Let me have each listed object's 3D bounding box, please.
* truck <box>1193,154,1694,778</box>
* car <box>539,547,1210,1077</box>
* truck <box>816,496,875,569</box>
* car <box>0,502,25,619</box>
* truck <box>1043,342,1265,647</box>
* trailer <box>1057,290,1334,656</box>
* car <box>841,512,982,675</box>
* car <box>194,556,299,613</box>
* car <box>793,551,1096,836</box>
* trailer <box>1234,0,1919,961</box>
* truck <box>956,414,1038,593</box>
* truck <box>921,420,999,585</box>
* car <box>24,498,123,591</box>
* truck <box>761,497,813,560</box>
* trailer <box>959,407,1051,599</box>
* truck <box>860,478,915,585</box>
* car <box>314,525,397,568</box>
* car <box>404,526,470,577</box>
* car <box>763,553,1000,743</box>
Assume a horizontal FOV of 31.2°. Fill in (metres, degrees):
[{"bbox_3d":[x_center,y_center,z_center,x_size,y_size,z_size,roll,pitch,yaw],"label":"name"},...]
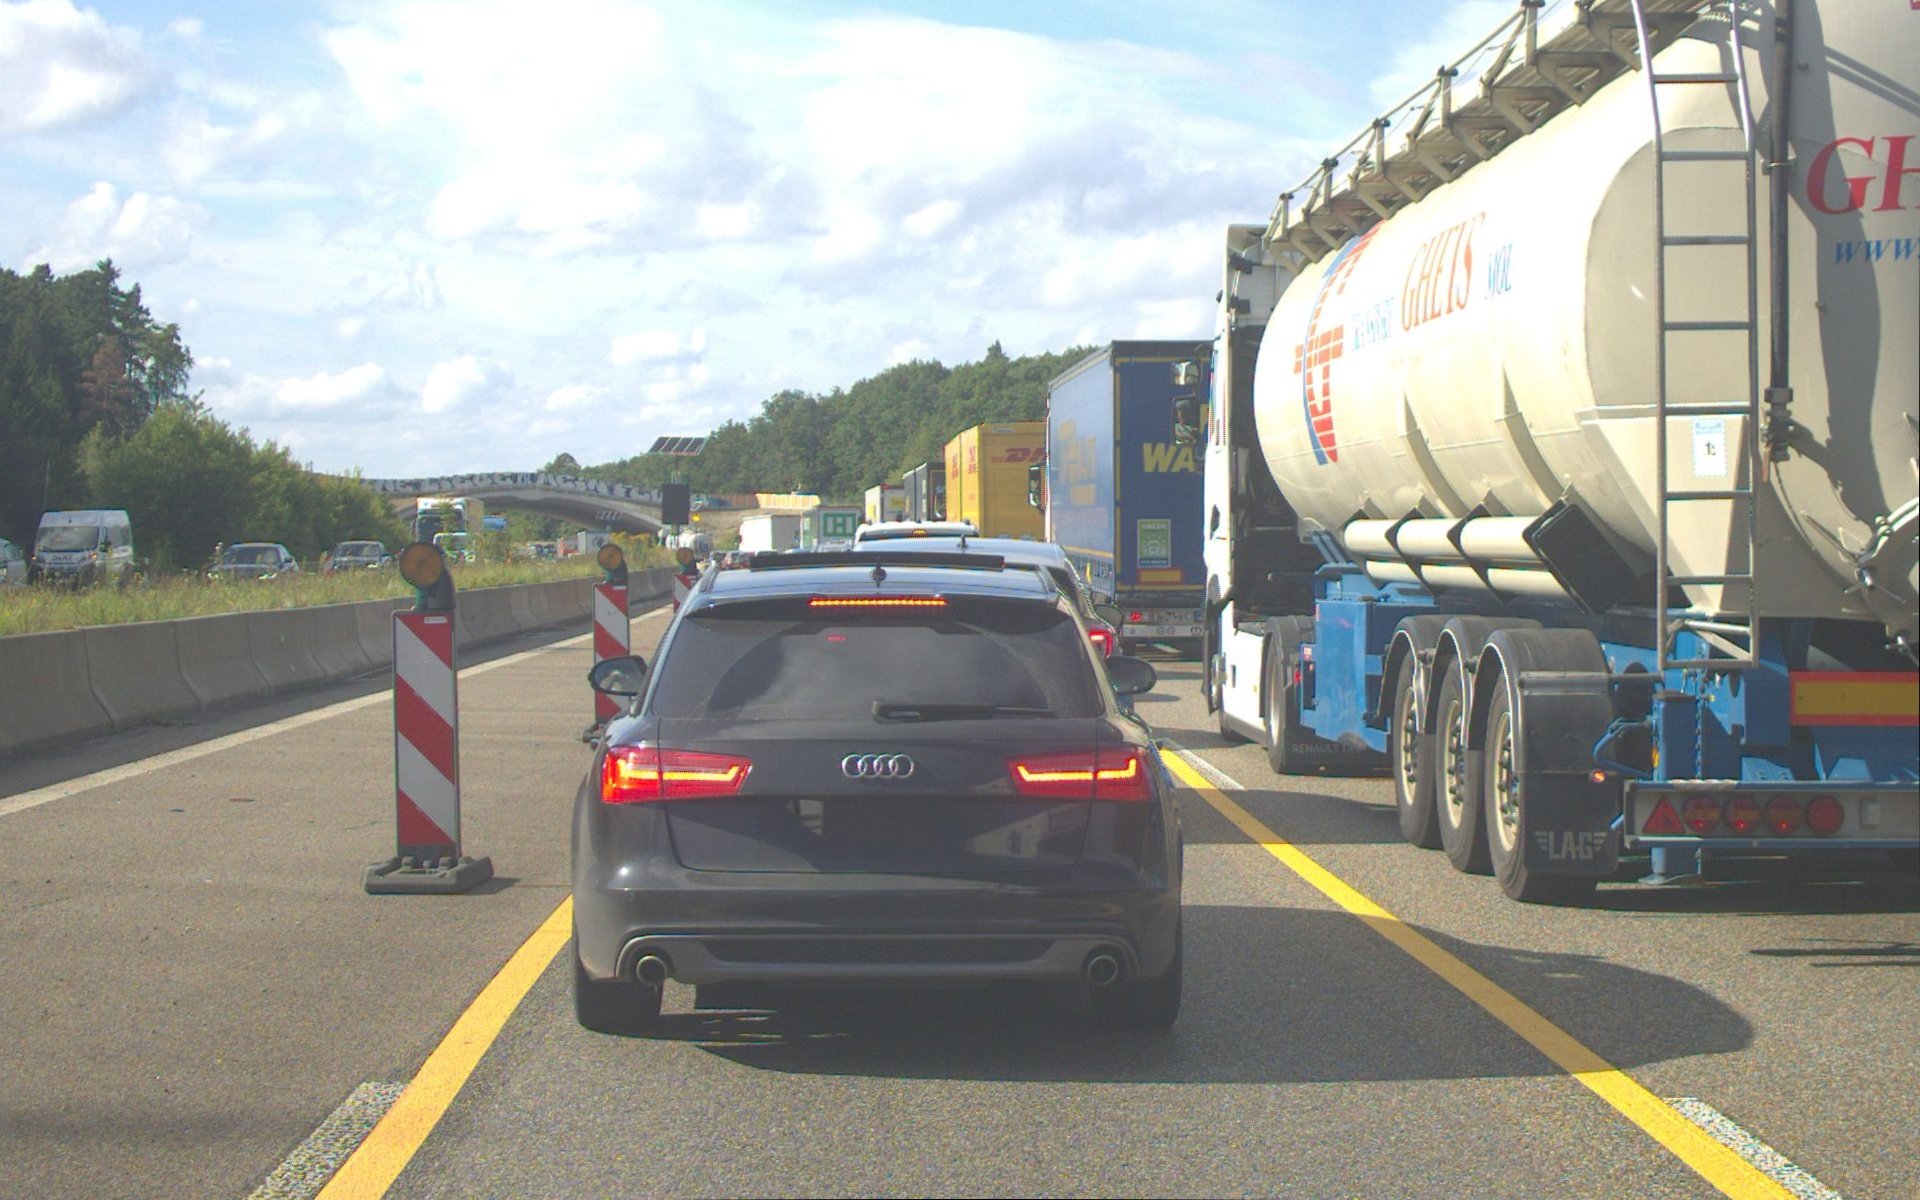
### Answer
[{"bbox_3d":[3.300,-0.883,24.952,2.659,3.958,5.779,1,0,-1],"label":"truck"},{"bbox_3d":[-0.267,0.572,11.524,1.848,1.458,4.000,0,0,-1],"label":"car"},{"bbox_3d":[-6.819,-3.940,202.913,3.303,4.160,9.703,0,1,-3],"label":"truck"},{"bbox_3d":[-15.854,-0.623,52.656,1.944,1.806,4.119,1,0,-1],"label":"car"},{"bbox_3d":[2.888,-1.554,53.402,2.806,4.354,7.792,1,0,-1],"label":"truck"},{"bbox_3d":[3.010,-1.586,46.998,2.805,4.398,10.433,1,0,-1],"label":"trailer"},{"bbox_3d":[-0.575,-0.091,40.628,1.581,1.830,3.112,1,0,-1],"label":"car"},{"bbox_3d":[-18.019,-0.402,86.962,1.779,1.382,4.310,1,0,-1],"label":"car"},{"bbox_3d":[-0.103,0.463,19.220,1.524,1.434,3.285,1,0,-1],"label":"car"},{"bbox_3d":[3.416,-0.804,18.201,2.644,3.929,12.598,1,1,-1],"label":"trailer"},{"bbox_3d":[0.804,-2.121,77.179,1.609,3.883,4.072,1,0,-2],"label":"truck"},{"bbox_3d":[-0.048,-2.990,107.367,1.993,4.897,9.563,1,1,-2],"label":"truck"},{"bbox_3d":[-25.887,-1.604,100.553,2.250,2.634,5.021,1,0,-8],"label":"car"},{"bbox_3d":[-11.803,-4.824,233.396,3.303,4.160,9.704,1,1,-4],"label":"truck"},{"bbox_3d":[0.919,-2.006,73.355,1.616,3.905,6.490,1,0,-2],"label":"trailer"},{"bbox_3d":[-2.960,-2.757,140.359,2.137,4.243,7.072,1,0,-1],"label":"truck"},{"bbox_3d":[-19.612,-1.721,111.716,1.958,1.358,4.288,1,0,-1],"label":"car"},{"bbox_3d":[-21.244,-1.980,139.873,1.993,2.007,4.832,1,0,-1],"label":"car"},{"bbox_3d":[-0.616,0.346,27.559,1.751,1.392,3.608,1,0,-1],"label":"car"}]
